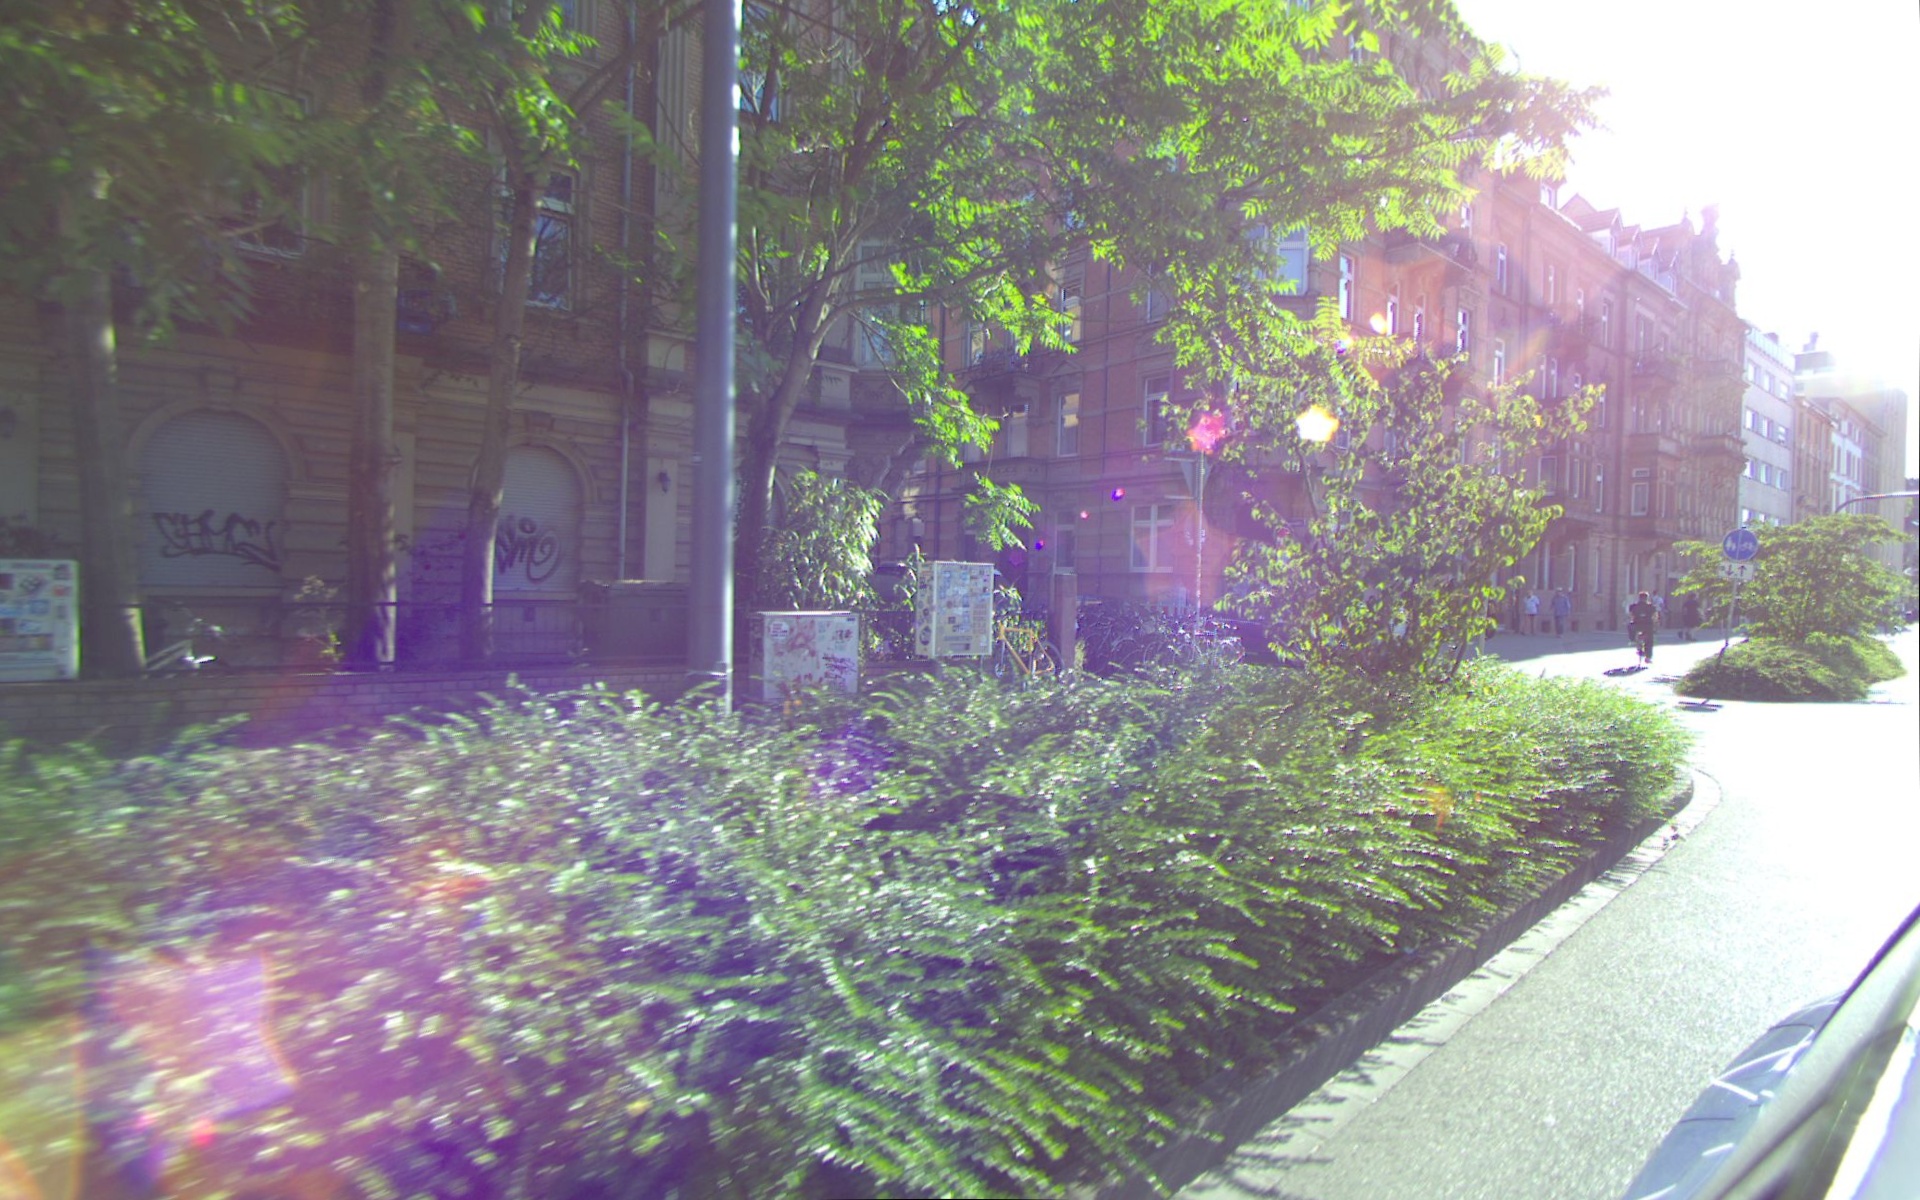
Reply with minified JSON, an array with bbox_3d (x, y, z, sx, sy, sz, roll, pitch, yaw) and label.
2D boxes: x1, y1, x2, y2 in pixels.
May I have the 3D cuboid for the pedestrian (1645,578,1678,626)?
[{"bbox_3d":[29.225,0.090,42.163,1.116,1.954,0.824,1,1,-40],"label":"pedestrian"}]

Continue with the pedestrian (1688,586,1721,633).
[{"bbox_3d":[27.391,0.347,37.215,1.116,1.676,0.704,1,1,-40],"label":"pedestrian"}]

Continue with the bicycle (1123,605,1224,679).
[{"bbox_3d":[3.374,0.673,15.879,1.788,1.061,0.519,4,-1,-41],"label":"bicycle"}]

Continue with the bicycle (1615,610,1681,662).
[{"bbox_3d":[15.915,0.805,23.384,2.319,1.060,0.642,-1,3,-41],"label":"bicycle"}]

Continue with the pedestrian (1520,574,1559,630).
[{"bbox_3d":[20.726,0.058,36.191,1.116,1.954,0.824,1,1,-40],"label":"pedestrian"}]

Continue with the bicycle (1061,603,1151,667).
[{"bbox_3d":[2.659,0.646,18.332,1.788,1.061,0.519,4,-1,-41],"label":"bicycle"}]

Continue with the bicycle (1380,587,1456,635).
[{"bbox_3d":[13.077,0.293,28.911,1.880,1.254,0.484,3,3,39],"label":"bicycle"}]

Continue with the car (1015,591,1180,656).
[{"bbox_3d":[3.525,0.581,26.664,1.778,1.433,4.264,4,-1,-36],"label":"car"}]

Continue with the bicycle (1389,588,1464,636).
[{"bbox_3d":[13.496,0.325,29.309,1.880,1.254,0.484,3,3,39],"label":"bicycle"}]

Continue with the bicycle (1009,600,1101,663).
[{"bbox_3d":[1.743,0.581,18.387,1.788,1.061,0.519,4,-1,-41],"label":"bicycle"}]

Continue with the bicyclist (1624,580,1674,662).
[{"bbox_3d":[15.940,0.455,23.407,1.034,1.837,0.642,-1,2,-41],"label":"bicyclist"}]

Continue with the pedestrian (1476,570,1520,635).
[{"bbox_3d":[16.783,0.074,31.549,1.116,1.954,0.824,1,1,-40],"label":"pedestrian"}]

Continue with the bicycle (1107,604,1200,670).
[{"bbox_3d":[3.367,0.653,17.510,1.788,1.061,0.519,4,-1,-41],"label":"bicycle"}]

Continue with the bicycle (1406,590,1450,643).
[{"bbox_3d":[12.022,0.406,25.986,0.488,1.254,1.862,3,3,41],"label":"bicycle"}]

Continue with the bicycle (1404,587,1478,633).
[{"bbox_3d":[14.301,0.277,30.119,1.880,1.254,0.484,3,3,39],"label":"bicycle"}]

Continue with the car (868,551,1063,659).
[{"bbox_3d":[0.014,0.086,22.774,1.744,2.151,4.585,4,-2,-41],"label":"car"}]

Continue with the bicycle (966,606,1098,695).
[{"bbox_3d":[0.904,0.622,12.335,1.692,1.001,0.526,4,-1,-42],"label":"bicycle"}]

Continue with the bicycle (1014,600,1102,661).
[{"bbox_3d":[1.877,0.591,19.217,1.788,1.061,0.519,4,-1,-41],"label":"bicycle"}]

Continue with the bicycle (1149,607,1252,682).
[{"bbox_3d":[3.698,0.696,15.482,1.788,1.061,0.519,4,-1,-41],"label":"bicycle"}]

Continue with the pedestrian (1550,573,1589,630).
[{"bbox_3d":[21.341,0.044,35.439,1.116,1.954,0.824,1,1,-40],"label":"pedestrian"}]

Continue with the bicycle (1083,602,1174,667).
[{"bbox_3d":[3.002,0.627,17.924,1.788,1.061,0.519,4,-1,-41],"label":"bicycle"}]

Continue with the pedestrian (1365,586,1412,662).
[{"bbox_3d":[9.020,0.492,21.319,0.649,1.554,0.702,1,0,1],"label":"pedestrian"}]

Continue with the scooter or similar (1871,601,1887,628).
[{"bbox_3d":[44.934,0.692,49.490,0.430,1.264,1.277,3,3,38],"label":"scooter or similar"}]

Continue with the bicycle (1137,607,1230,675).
[{"bbox_3d":[3.775,0.703,17.015,1.788,1.061,0.519,4,-1,-41],"label":"bicycle"}]

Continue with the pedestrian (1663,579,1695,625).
[{"bbox_3d":[26.923,0.074,37.883,1.116,1.676,0.704,1,1,-40],"label":"pedestrian"}]

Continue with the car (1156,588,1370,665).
[{"bbox_3d":[6.641,0.552,22.564,1.780,1.433,4.261,4,-1,-40],"label":"car"}]

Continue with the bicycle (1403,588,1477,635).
[{"bbox_3d":[14.032,0.317,29.612,1.880,1.254,0.484,3,3,39],"label":"bicycle"}]
